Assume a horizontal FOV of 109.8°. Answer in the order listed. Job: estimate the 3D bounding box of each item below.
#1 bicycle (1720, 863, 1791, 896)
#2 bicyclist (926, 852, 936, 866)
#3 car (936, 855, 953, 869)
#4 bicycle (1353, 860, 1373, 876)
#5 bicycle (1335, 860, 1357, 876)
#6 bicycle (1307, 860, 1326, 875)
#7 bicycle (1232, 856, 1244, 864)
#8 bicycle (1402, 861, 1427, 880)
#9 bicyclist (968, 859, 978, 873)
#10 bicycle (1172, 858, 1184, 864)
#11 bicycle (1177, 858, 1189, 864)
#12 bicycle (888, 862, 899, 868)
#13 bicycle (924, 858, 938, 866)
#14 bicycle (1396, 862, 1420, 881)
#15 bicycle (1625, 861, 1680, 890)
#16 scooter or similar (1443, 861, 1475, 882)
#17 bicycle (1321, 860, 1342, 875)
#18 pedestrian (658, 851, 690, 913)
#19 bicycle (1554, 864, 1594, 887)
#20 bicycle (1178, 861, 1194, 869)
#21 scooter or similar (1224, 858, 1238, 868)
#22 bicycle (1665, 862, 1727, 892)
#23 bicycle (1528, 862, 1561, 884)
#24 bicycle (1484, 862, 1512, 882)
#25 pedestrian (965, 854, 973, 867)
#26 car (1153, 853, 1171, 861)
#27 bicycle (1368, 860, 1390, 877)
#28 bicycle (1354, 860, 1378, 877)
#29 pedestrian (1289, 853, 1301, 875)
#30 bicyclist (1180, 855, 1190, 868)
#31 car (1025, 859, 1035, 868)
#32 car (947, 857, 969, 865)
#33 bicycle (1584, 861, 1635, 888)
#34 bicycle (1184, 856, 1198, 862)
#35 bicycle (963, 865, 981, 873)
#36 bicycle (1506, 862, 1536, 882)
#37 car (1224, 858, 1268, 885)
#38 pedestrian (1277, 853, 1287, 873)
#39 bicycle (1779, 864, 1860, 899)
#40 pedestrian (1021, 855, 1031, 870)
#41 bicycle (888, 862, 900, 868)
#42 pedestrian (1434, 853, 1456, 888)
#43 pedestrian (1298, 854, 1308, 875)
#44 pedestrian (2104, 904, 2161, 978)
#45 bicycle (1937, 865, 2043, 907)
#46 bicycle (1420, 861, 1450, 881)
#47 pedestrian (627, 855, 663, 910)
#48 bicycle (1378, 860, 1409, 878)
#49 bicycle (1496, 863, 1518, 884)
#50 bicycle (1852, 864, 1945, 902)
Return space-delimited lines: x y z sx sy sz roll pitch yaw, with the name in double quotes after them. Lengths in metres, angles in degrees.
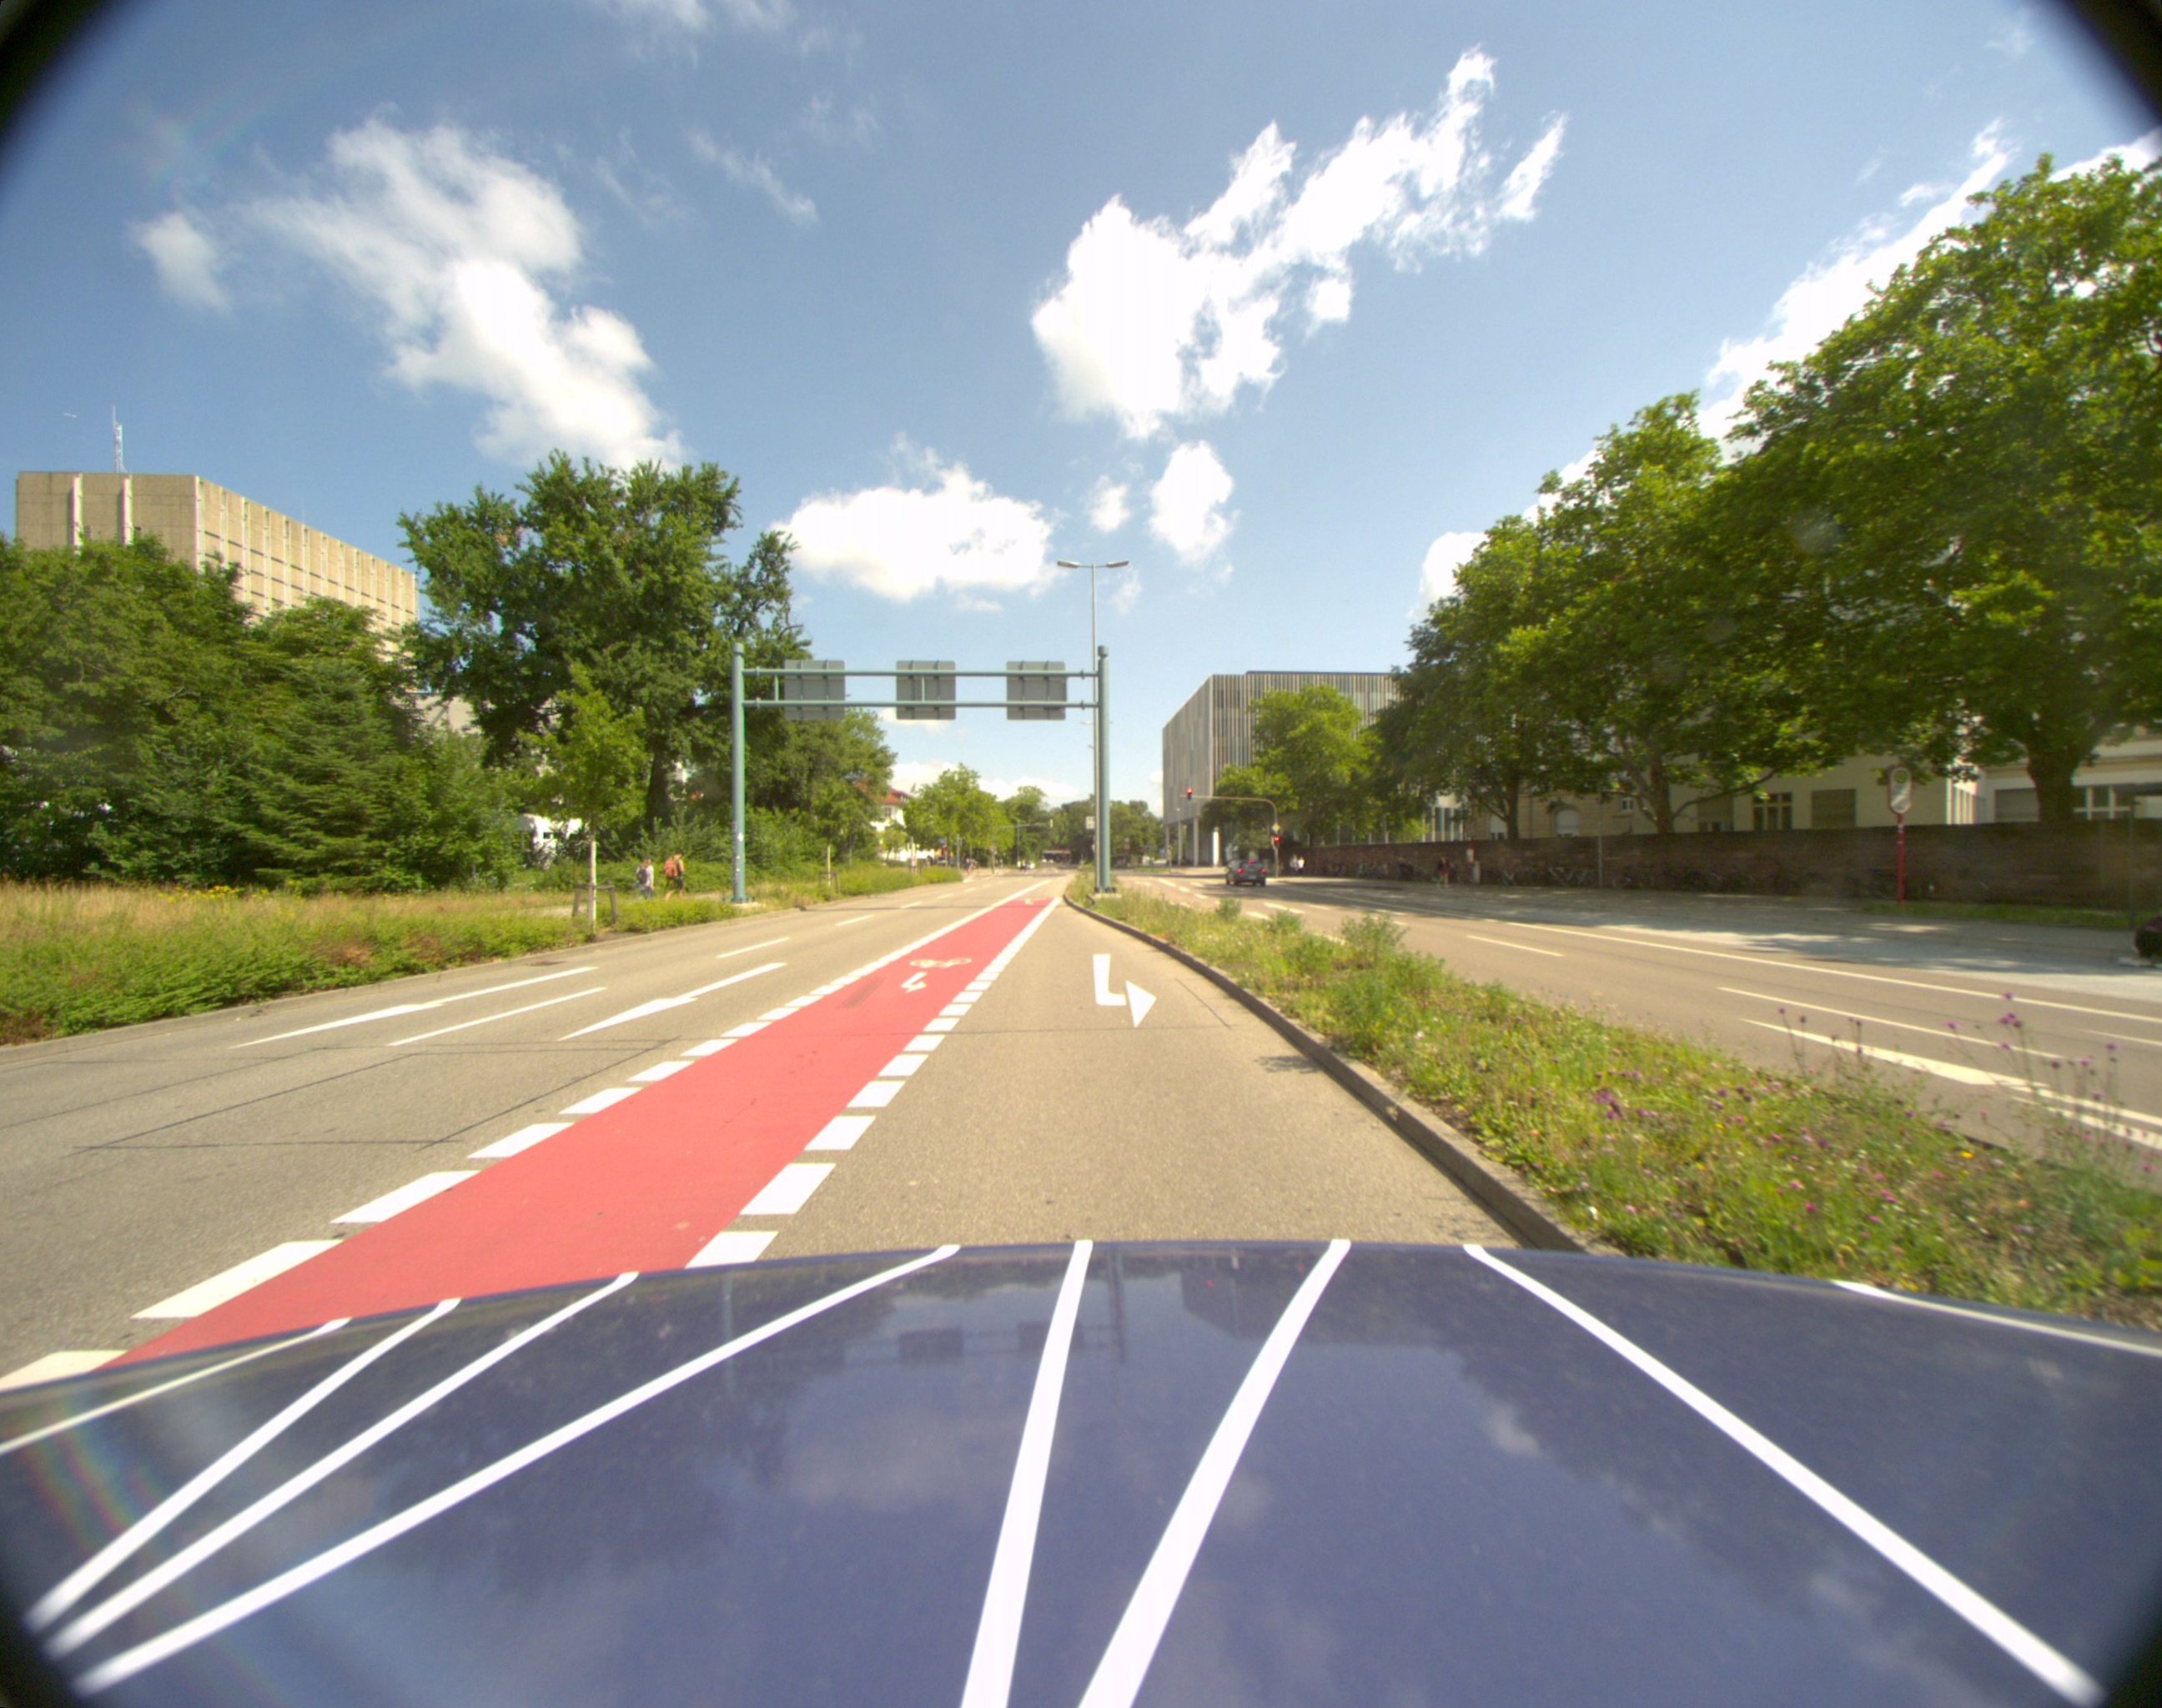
22.912 0.860 25.855 0.584 1.067 1.753 -1 0 -16 "bicycle"
-16.287 0.539 82.755 0.916 1.498 0.614 0 1 41 "bicyclist"
-20.847 1.225 116.187 1.999 2.002 4.900 0 0 -5 "car"
18.510 0.918 49.927 0.371 1.042 1.880 -1 0 -8 "bicycle"
18.182 0.970 52.164 0.566 1.042 1.880 -1 0 -8 "bicycle"
17.451 0.989 56.384 0.632 1.042 1.880 -1 0 -8 "bicycle"
22.265 0.863 107.701 0.720 1.090 2.223 0 0 38 "bicycle"
19.345 0.937 44.092 0.395 1.042 1.880 -1 0 -8 "bicycle"
-10.815 1.200 75.853 0.932 1.341 0.445 -1 1 -12 "bicyclist"
18.622 1.335 146.074 2.218 1.090 0.722 0 0 -7 "bicycle"
19.245 1.262 143.288 2.218 1.090 0.722 0 0 -7 "bicycle"
-28.552 1.688 115.786 1.673 0.785 0.626 0 0 -8 "bicycle"
-16.341 0.878 82.812 1.510 0.828 0.621 0 0 41 "bicycle"
18.926 0.992 44.019 0.374 1.042 1.880 -1 0 -8 "bicycle"
22.028 0.814 29.303 0.631 1.070 1.651 -1 0 -15 "bicycle"
19.946 0.920 40.128 0.582 1.042 1.880 -1 0 -8 "scooter or similar"
17.892 0.958 54.261 0.632 1.042 1.880 -1 0 -8 "bicycle"
-11.953 0.809 22.334 0.568 1.791 0.639 -1 0 1 "pedestrian"
21.294 0.923 32.840 0.371 0.949 1.625 -1 0 -14 "bicycle"
12.521 1.291 90.411 1.771 0.887 0.639 -1 0 32 "bicycle"
16.395 0.971 83.287 1.505 1.150 0.502 0 0 -27 "scooter or similar"
22.437 0.820 27.765 0.584 1.067 1.753 -1 0 -14 "bicycle"
21.010 0.865 34.464 0.368 0.949 1.400 -1 0 -14 "bicycle"
20.459 0.858 37.313 0.368 0.949 1.400 -1 0 -14 "bicycle"
-13.759 0.806 93.524 0.741 1.640 0.640 0 0 12 "pedestrian"
18.996 0.661 177.336 3.997 1.676 1.646 0 0 0 "car"
18.791 0.902 47.914 0.371 1.042 1.880 -1 0 -8 "bicycle"
18.172 0.898 48.512 0.594 1.042 1.880 -1 0 -8 "bicycle"
16.207 0.729 57.451 0.643 1.641 0.731 0 0 -5 "pedestrian"
12.384 0.889 90.485 0.944 1.456 0.633 0 0 32 "bicyclist"
-8.854 1.630 131.237 1.709 1.321 3.998 2 0 -5 "car"
-22.576 1.314 139.201 4.000 1.416 1.756 0 0 -10 "car"
21.601 0.835 31.065 0.584 1.067 1.753 -1 0 -14 "bicycle"
18.948 0.859 131.130 2.218 1.090 0.722 0 0 -7 "bicycle"
-10.851 1.488 75.858 1.756 0.771 0.445 -1 0 -12 "bicycle"
20.778 0.845 35.912 0.368 0.949 1.400 -1 0 -14 "bicycle"
9.427 0.987 43.695 1.704 1.436 4.146 1 0 1 "car"
16.201 0.724 61.238 0.562 1.641 0.727 0 0 -5 "pedestrian"
23.379 0.851 24.100 0.584 1.067 1.753 -1 0 -21 "bicycle"
-6.519 1.015 90.366 0.700 1.815 0.944 3 1 32 "pedestrian"
-28.647 1.687 116.457 1.673 0.785 0.626 0 0 -8 "bicycle"
16.985 0.750 35.457 0.658 1.600 0.744 -1 0 -2 "pedestrian"
16.879 0.789 57.766 0.477 1.531 0.616 0 0 -5 "pedestrian"
15.073 1.209 10.567 0.696 0.957 0.743 -1 0 0 "pedestrian"
24.550 0.840 20.560 0.584 1.067 1.753 -1 0 -21 "bicycle"
19.615 0.930 42.115 0.582 1.042 1.880 -1 0 -8 "bicycle"
-12.825 0.831 22.379 0.624 1.571 0.708 -1 0 1 "pedestrian"
18.899 0.901 46.011 0.594 1.042 1.877 -1 0 -24 "bicycle"
20.129 0.933 35.933 0.367 0.949 1.626 -1 0 10 "bicycle"
23.934 0.828 22.285 0.584 1.067 1.753 -1 0 -21 "bicycle"
